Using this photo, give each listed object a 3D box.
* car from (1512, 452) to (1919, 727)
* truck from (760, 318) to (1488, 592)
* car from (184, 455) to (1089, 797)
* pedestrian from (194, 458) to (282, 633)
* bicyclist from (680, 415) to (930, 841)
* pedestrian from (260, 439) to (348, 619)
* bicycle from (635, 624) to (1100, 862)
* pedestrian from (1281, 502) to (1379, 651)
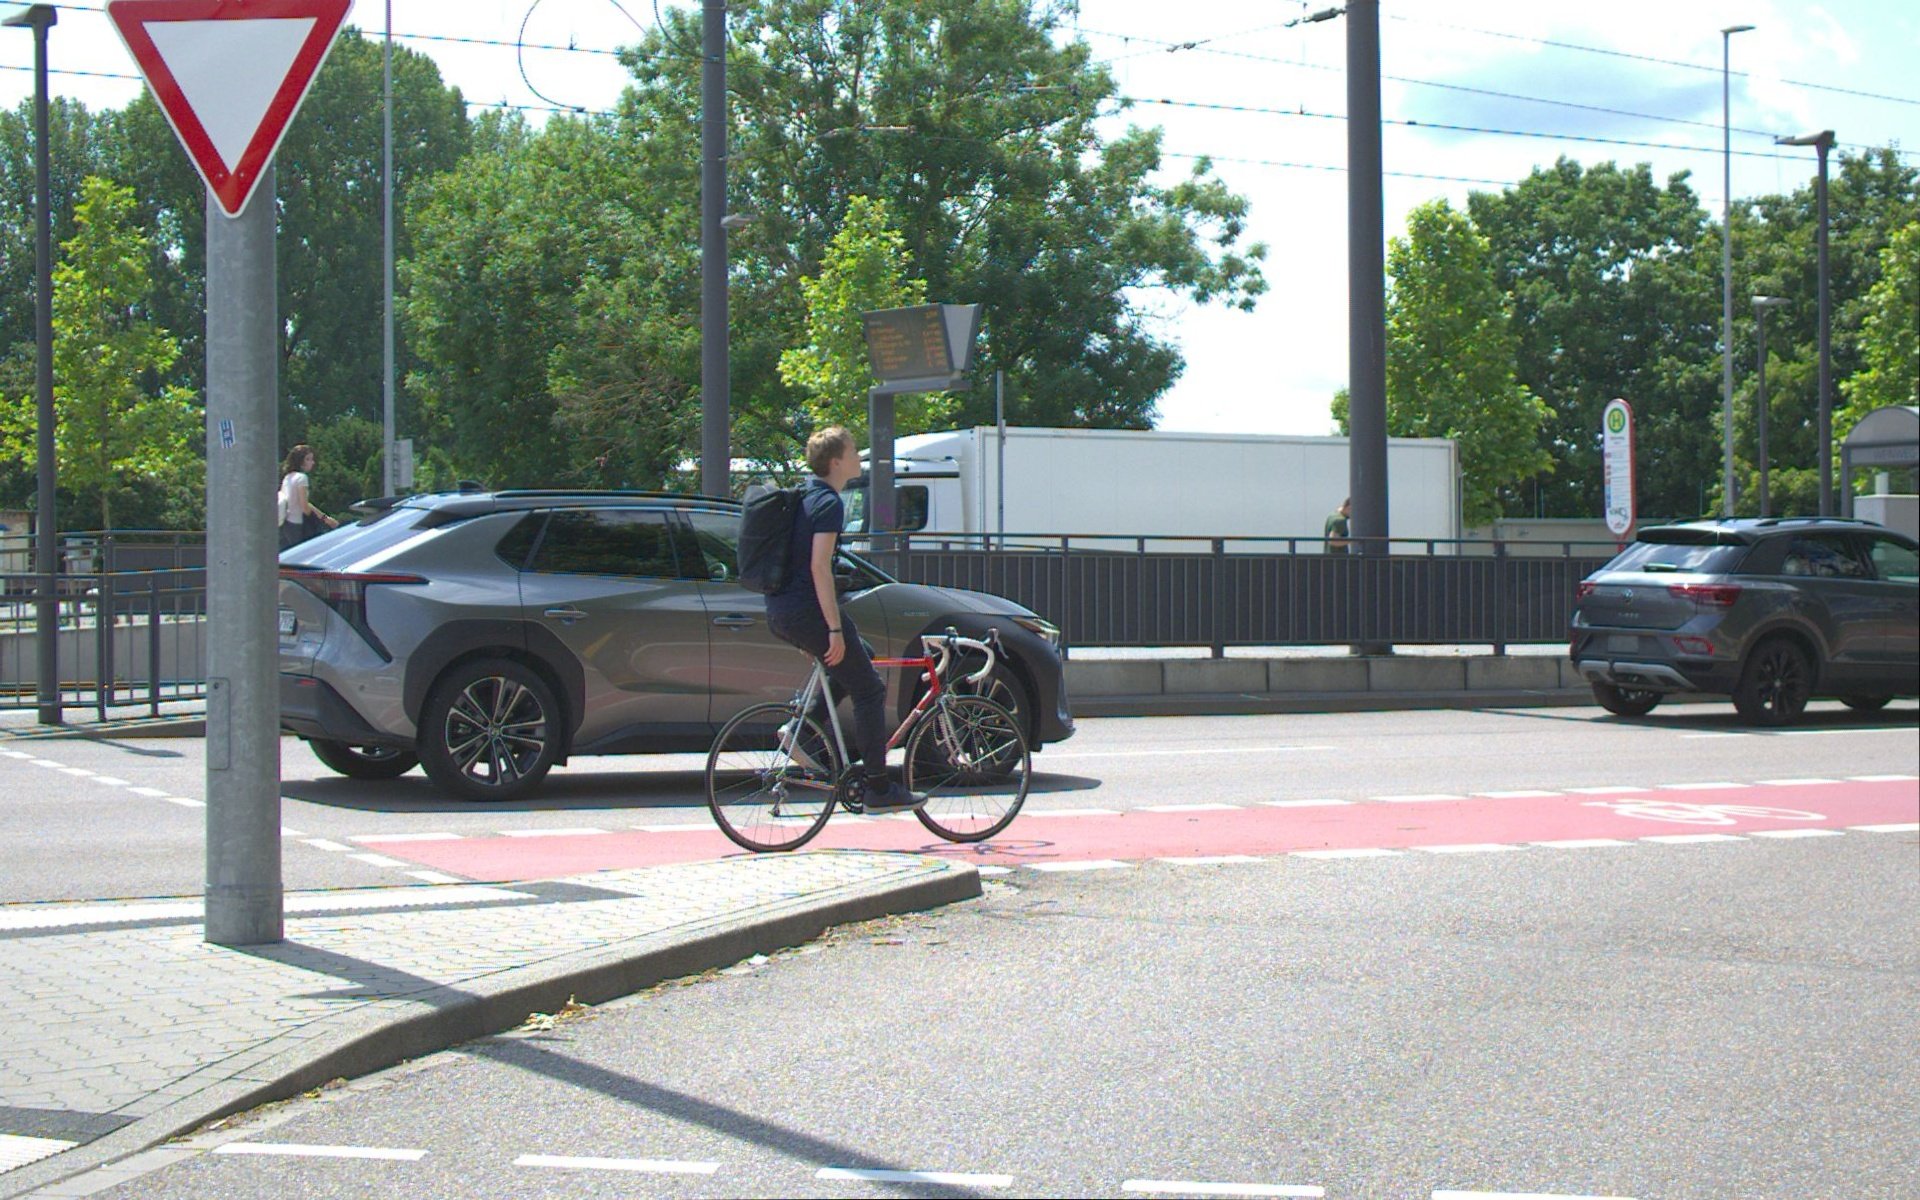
[{"bbox_3d":[6.658,-0.077,26.784,4.348,1.982,2.000,0,1,-30],"label":"car"},{"bbox_3d":[2.821,-2.218,55.579,11.957,4.090,2.952,0,1,-29],"label":"truck"},{"bbox_3d":[-1.722,0.112,18.698,4.504,1.669,1.904,0,1,-30],"label":"car"},{"bbox_3d":[-7.189,-0.549,34.247,0.706,1.715,0.601,-1,2,-27],"label":"pedestrian"},{"bbox_3d":[-0.695,0.112,15.333,0.921,1.840,0.611,0,1,-30],"label":"bicyclist"},{"bbox_3d":[-6.444,-0.702,33.765,0.676,1.742,0.637,0,3,-27],"label":"pedestrian"},{"bbox_3d":[-0.403,0.626,15.513,2.017,0.996,0.622,1,2,-30],"label":"bicycle"},{"bbox_3d":[4.535,-0.289,42.134,0.927,1.801,0.736,0,1,-30],"label":"pedestrian"}]
